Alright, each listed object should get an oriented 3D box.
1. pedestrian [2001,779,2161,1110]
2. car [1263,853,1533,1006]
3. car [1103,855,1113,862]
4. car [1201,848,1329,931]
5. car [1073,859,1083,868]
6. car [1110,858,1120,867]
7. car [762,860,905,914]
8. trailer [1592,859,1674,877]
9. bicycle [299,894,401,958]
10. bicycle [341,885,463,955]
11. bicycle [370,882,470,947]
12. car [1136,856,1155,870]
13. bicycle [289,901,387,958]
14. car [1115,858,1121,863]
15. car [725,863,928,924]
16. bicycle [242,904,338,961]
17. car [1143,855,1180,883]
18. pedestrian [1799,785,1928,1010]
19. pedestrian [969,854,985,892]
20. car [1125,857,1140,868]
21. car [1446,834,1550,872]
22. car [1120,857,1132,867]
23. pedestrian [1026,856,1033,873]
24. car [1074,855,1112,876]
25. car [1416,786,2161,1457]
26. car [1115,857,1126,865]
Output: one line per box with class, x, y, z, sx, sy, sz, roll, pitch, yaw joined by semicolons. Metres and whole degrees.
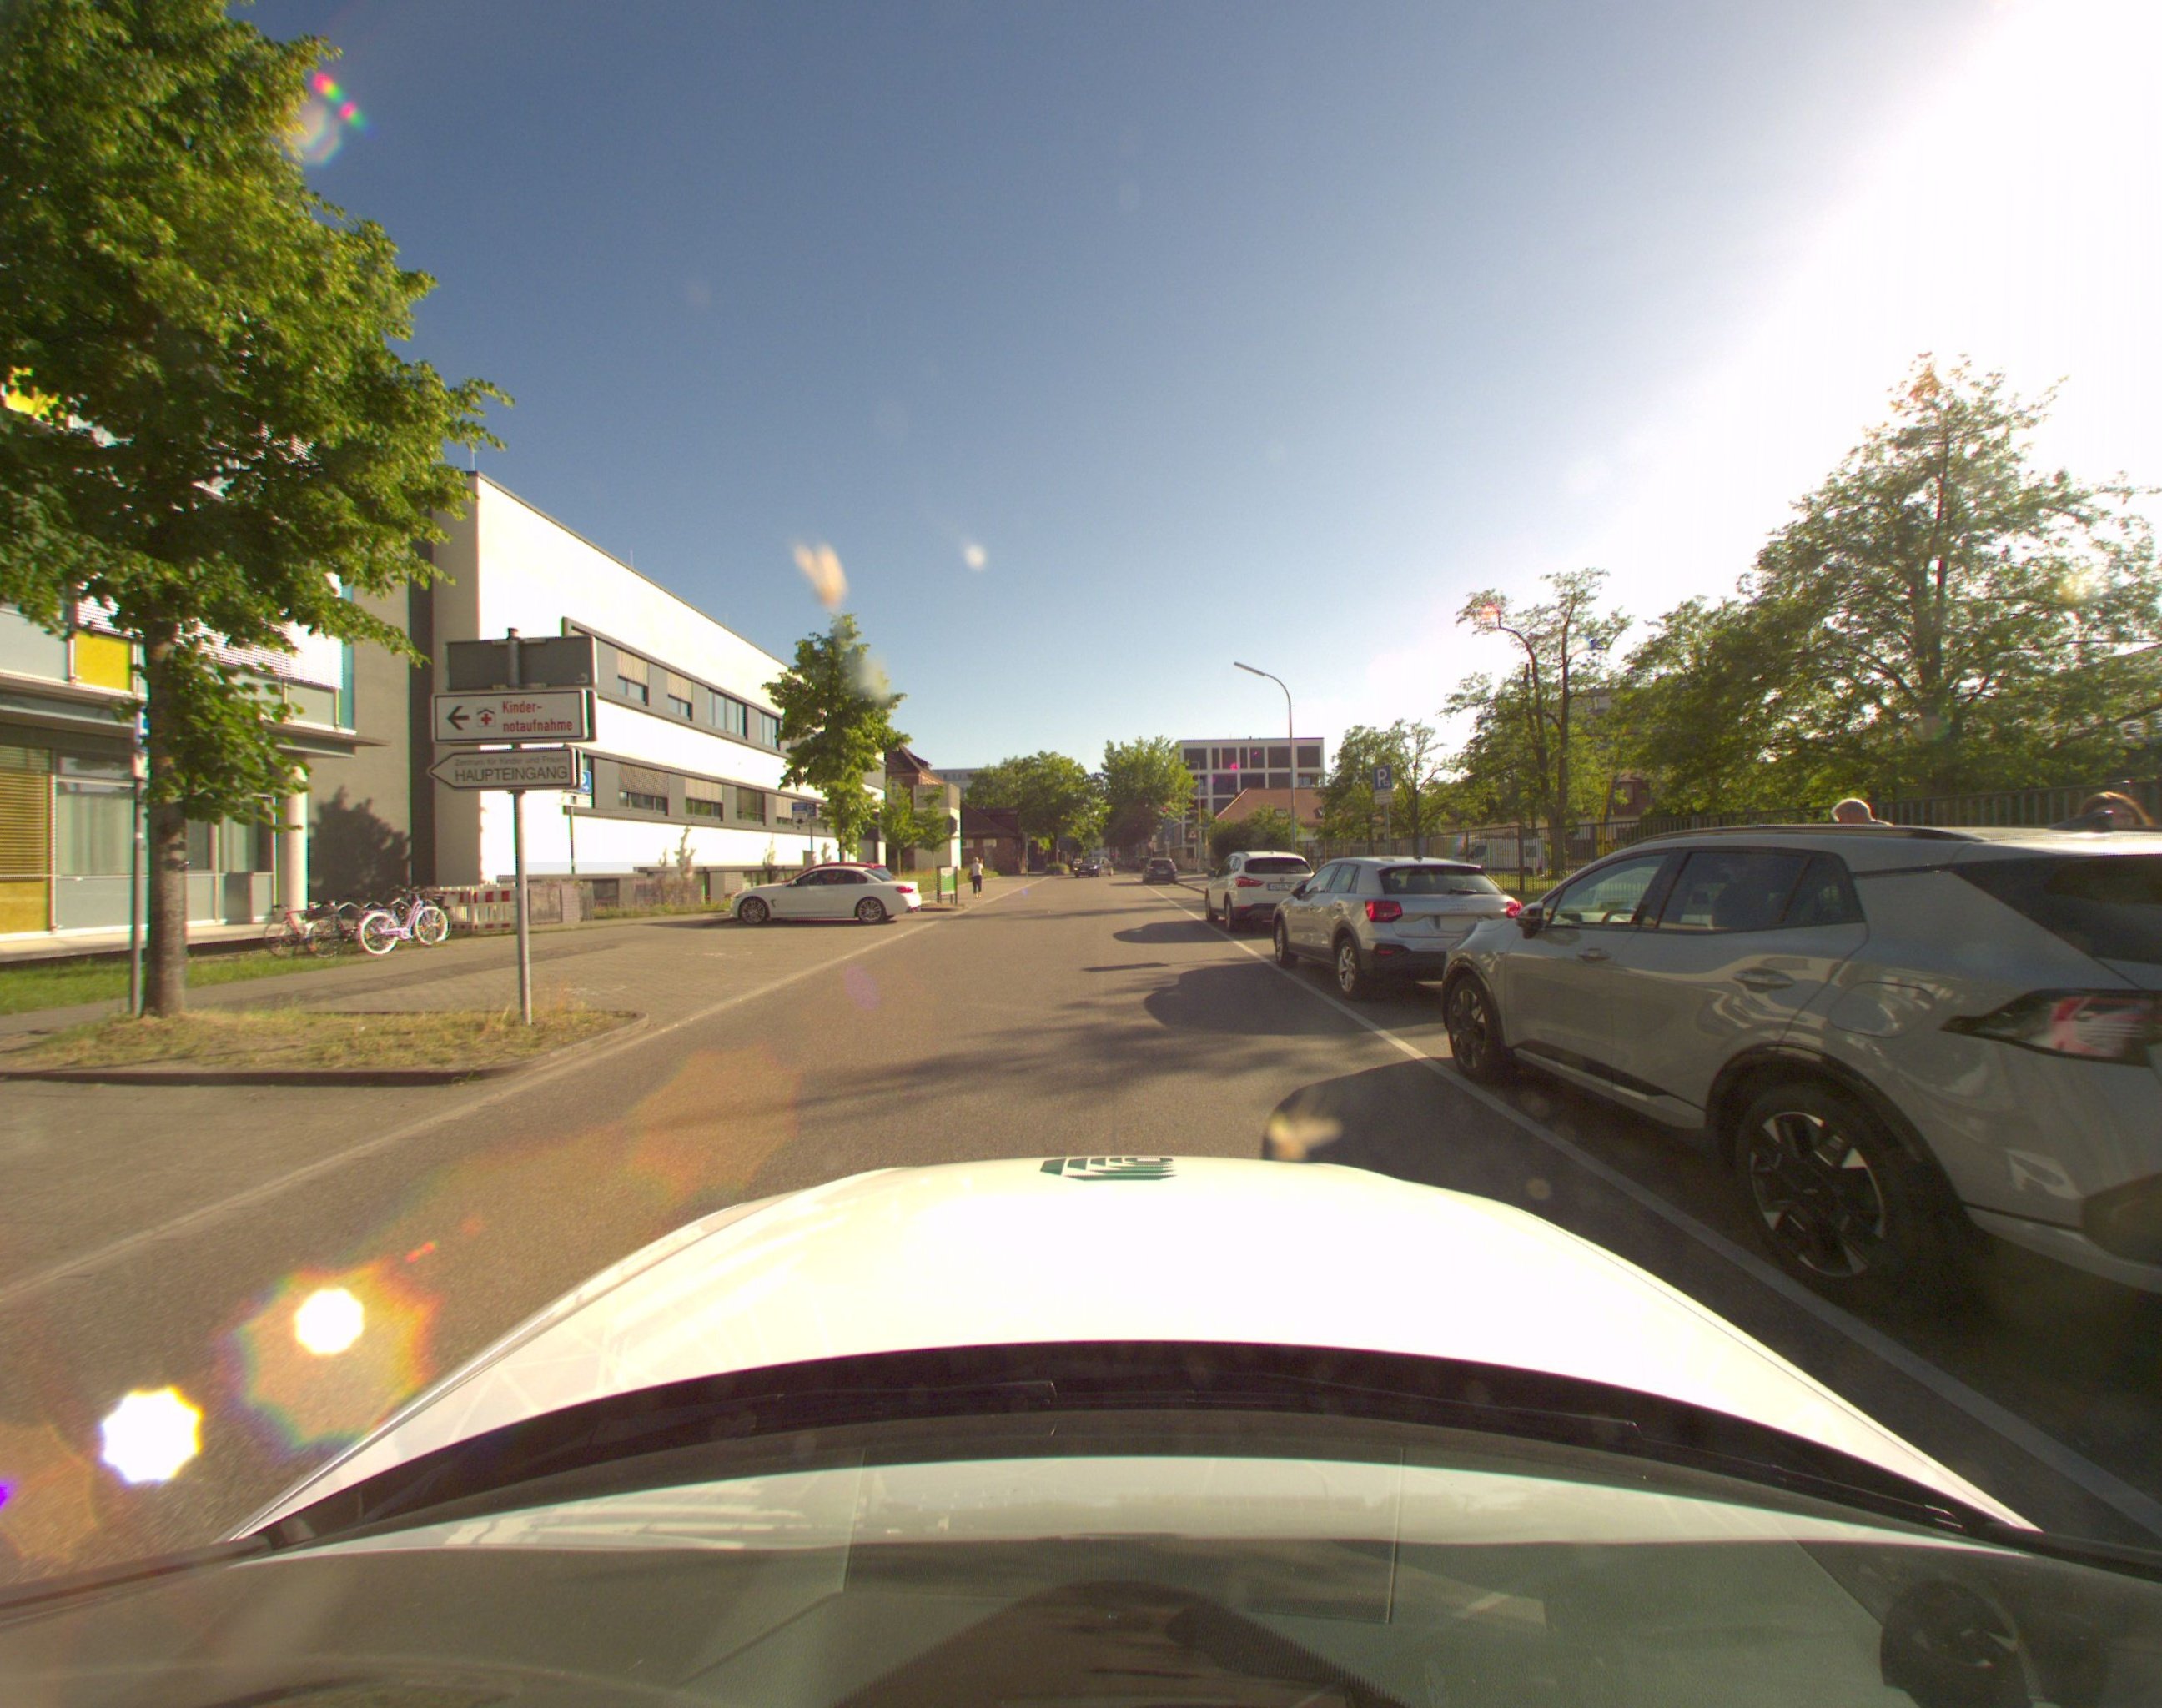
pedestrian;5.388;0.442;4.203;0.675;1.611;0.544;0;-1;24
car;3.542;0.736;9.932;1.696;1.487;3.978;0;0;-1
car;5.211;0.900;159.048;1.882;1.400;3.838;-1;0;2
car;3.826;0.679;17.646;1.807;1.588;4.261;0;0;0
car;-0.577;1.649;146.310;1.761;1.487;3.999;-1;0;0
car;6.529;1.603;156.479;1.761;1.548;4.065;-1;0;0
car;-6.975;0.903;23.230;3.627;1.469;1.612;0;0;-4
trailer;31.142;0.771;46.113;1.886;0.919;5.123;-1;0;10
bicycle;-12.733;1.231;14.234;0.393;0.988;1.451;-2;0;2
bicycle;-12.192;1.154;14.701;0.532;1.111;1.862;-2;0;3
bicycle;-12.836;1.149;15.874;0.418;1.123;1.765;-2;0;2
car;6.753;0.914;85.306;1.697;1.468;4.790;-1;0;1
bicycle;-13.213;1.324;14.530;0.367;0.863;1.451;-2;0;2
car;9.826;1.745;216.529;1.579;1.400;3.838;-1;0;2
car;-6.234;0.960;20.356;4.502;1.367;1.697;1;0;-4
bicycle;-14.197;1.386;14.662;0.254;0.873;1.451;-2;0;2
car;4.457;0.798;45.502;1.810;1.453;4.216;-2;0;2
pedestrian;6.185;0.333;6.457;0.519;1.708;0.522;1;-1;-1
pedestrian;-4.208;0.760;32.992;0.536;1.524;0.607;-2;0;2
car;6.728;1.117;106.518;1.761;1.440;3.999;-1;0;0
car;25.382;-0.084;49.709;5.256;2.202;2.004;-1;1;7
car;7.415;1.292;135.466;1.943;1.578;3.838;-1;0;2
pedestrian;-4.868;0.995;76.612;0.519;1.562;1.096;-1;0;1
car;0.942;0.818;61.319;1.748;1.442;4.556;-2;0;15
car;3.380;0.645;4.122;1.694;1.606;4.354;0;0;2
car;7.395;1.281;151.572;1.986;1.465;3.838;-1;0;2
